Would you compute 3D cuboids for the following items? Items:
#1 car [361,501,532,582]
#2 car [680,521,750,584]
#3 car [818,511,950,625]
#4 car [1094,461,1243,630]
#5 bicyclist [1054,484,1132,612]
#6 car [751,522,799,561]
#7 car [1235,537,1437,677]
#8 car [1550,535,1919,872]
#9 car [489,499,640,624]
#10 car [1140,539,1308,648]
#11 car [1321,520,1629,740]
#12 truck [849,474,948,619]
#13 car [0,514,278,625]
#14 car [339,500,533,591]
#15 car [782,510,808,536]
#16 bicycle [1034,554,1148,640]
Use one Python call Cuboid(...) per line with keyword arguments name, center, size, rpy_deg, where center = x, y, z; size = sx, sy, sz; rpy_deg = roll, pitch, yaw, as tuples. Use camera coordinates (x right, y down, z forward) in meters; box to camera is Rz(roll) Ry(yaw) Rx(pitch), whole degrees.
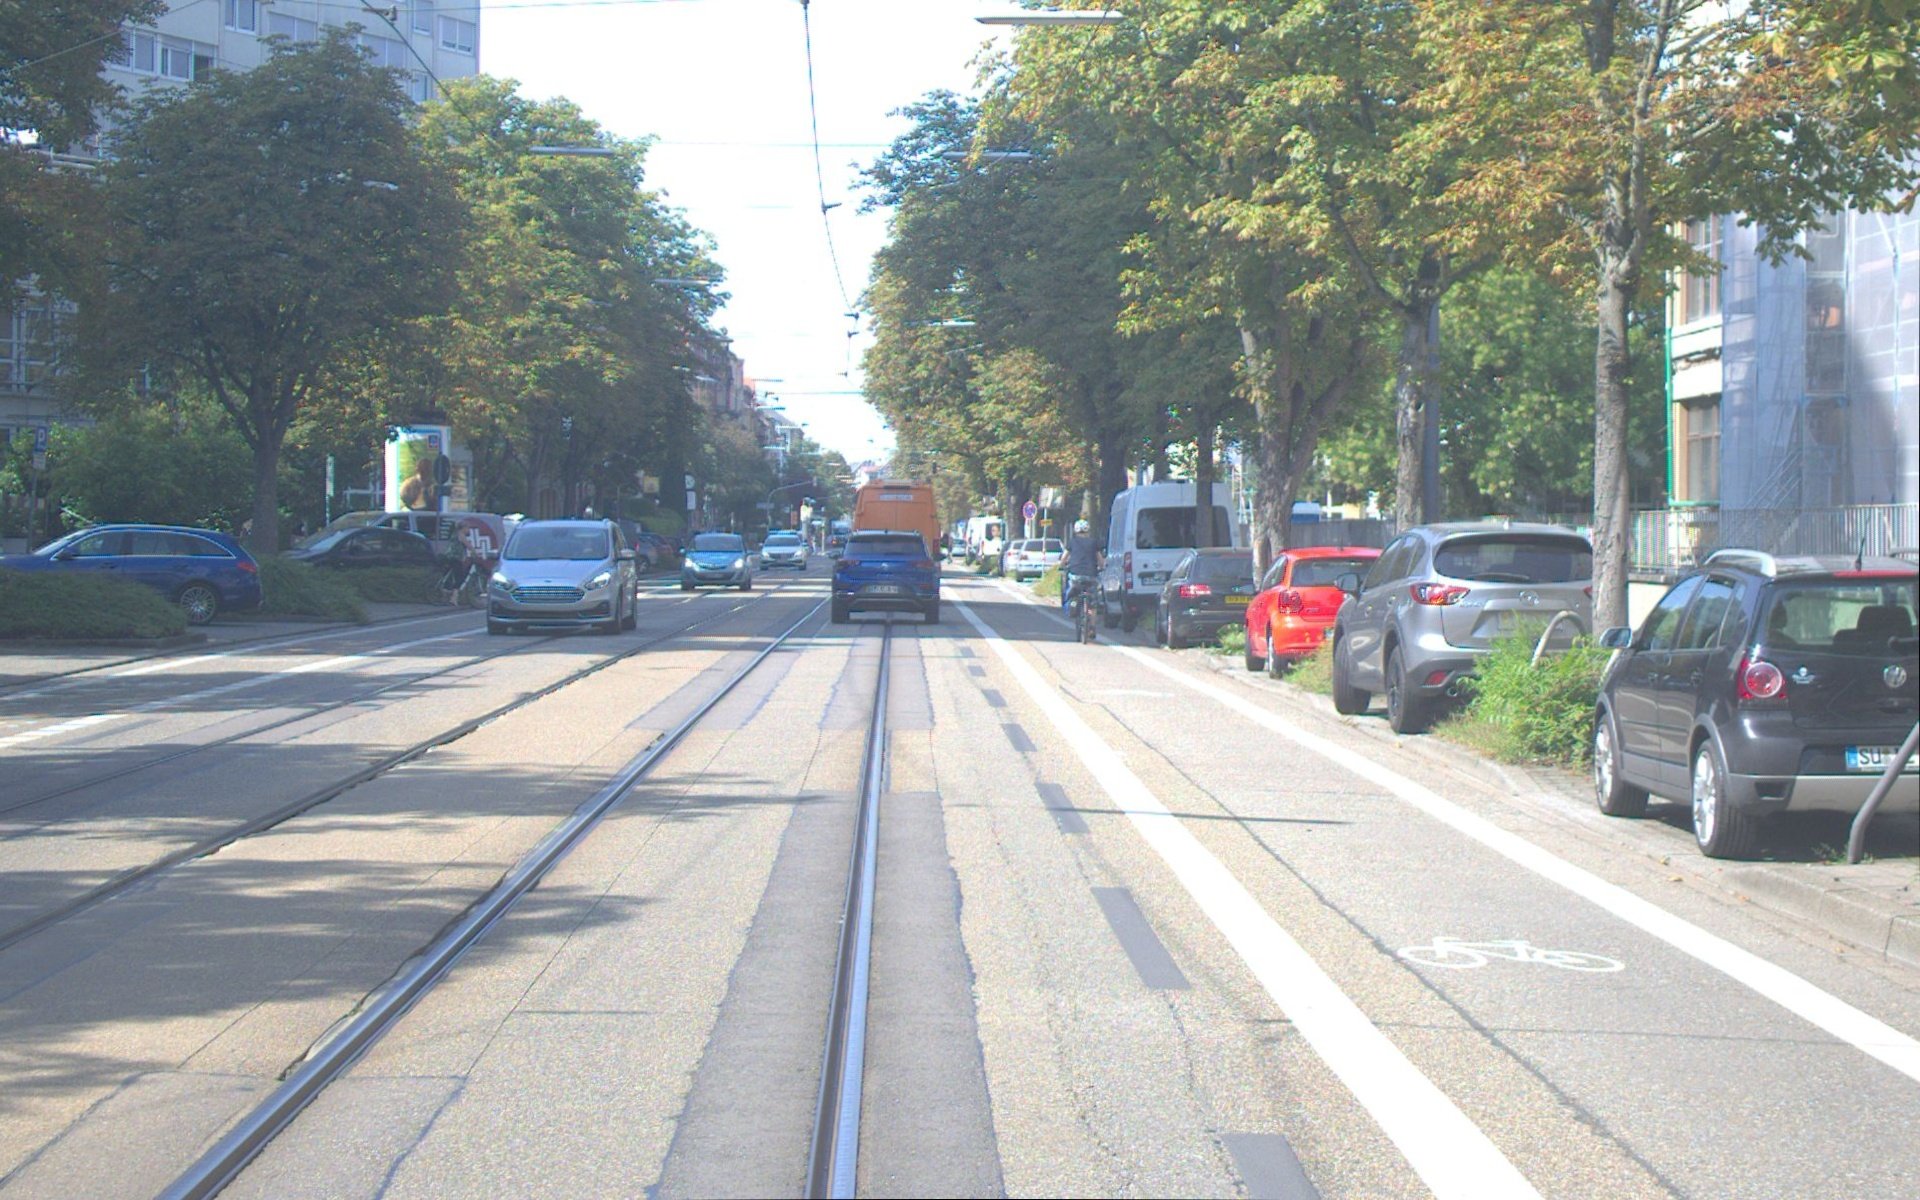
Cuboid(name="car", center=(-13.258, -1.500, 88.859), size=(3.989, 2.007, 1.856), rpy_deg=(0, 2, -44))
Cuboid(name="car", center=(-6.306, -1.246, 88.809), size=(1.633, 1.579, 4.189), rpy_deg=(1, 1, -2))
Cuboid(name="car", center=(-1.268, -0.582, 58.555), size=(2.135, 1.852, 5.568), rpy_deg=(0, 1, -1))
Cuboid(name="car", center=(3.557, -0.966, 59.705), size=(1.993, 2.746, 5.762), rpy_deg=(1, 1, -2))
Cuboid(name="bicyclist", center=(1.894, -0.749, 49.248), size=(1.031, 1.806, 1.016), rpy_deg=(1, 1, -1))
Cuboid(name="car", center=(-7.637, -2.438, 142.510), size=(1.898, 1.556, 4.123), rpy_deg=(1, 1, -2))
Cuboid(name="car", center=(4.209, 0.044, 38.992), size=(1.740, 1.457, 3.684), rpy_deg=(1, 1, -2))
Cuboid(name="car", center=(4.434, 0.462, 18.519), size=(1.633, 1.579, 4.189), rpy_deg=(1, 1, -2))
Cuboid(name="car", center=(-5.627, -0.576, 49.375), size=(1.780, 1.678, 4.348), rpy_deg=(1, 1, -2))
Cuboid(name="car", center=(3.726, -0.123, 49.127), size=(1.908, 1.427, 4.293), rpy_deg=(1, 1, -2))
Cuboid(name="car", center=(4.189, 0.182, 28.609), size=(1.740, 1.662, 4.362), rpy_deg=(1, 1, -2))
Cuboid(name="truck", center=(-1.362, -1.216, 77.116), size=(2.135, 3.113, 6.085), rpy_deg=(0, 1, -1))
Cuboid(name="car", center=(-12.499, -0.459, 50.389), size=(4.568, 1.547, 2.001), rpy_deg=(1, 1, -24))
Cuboid(name="car", center=(-11.894, -1.228, 78.201), size=(3.989, 2.007, 1.856), rpy_deg=(0, 2, -44))
Cuboid(name="car", center=(-11.604, -5.453, 242.265), size=(1.747, 1.790, 4.001), rpy_deg=(1, 1, -2))
Cuboid(name="bicycle", center=(1.848, -0.063, 49.293), size=(1.401, 1.130, 4.000), rpy_deg=(1, 1, -1))
